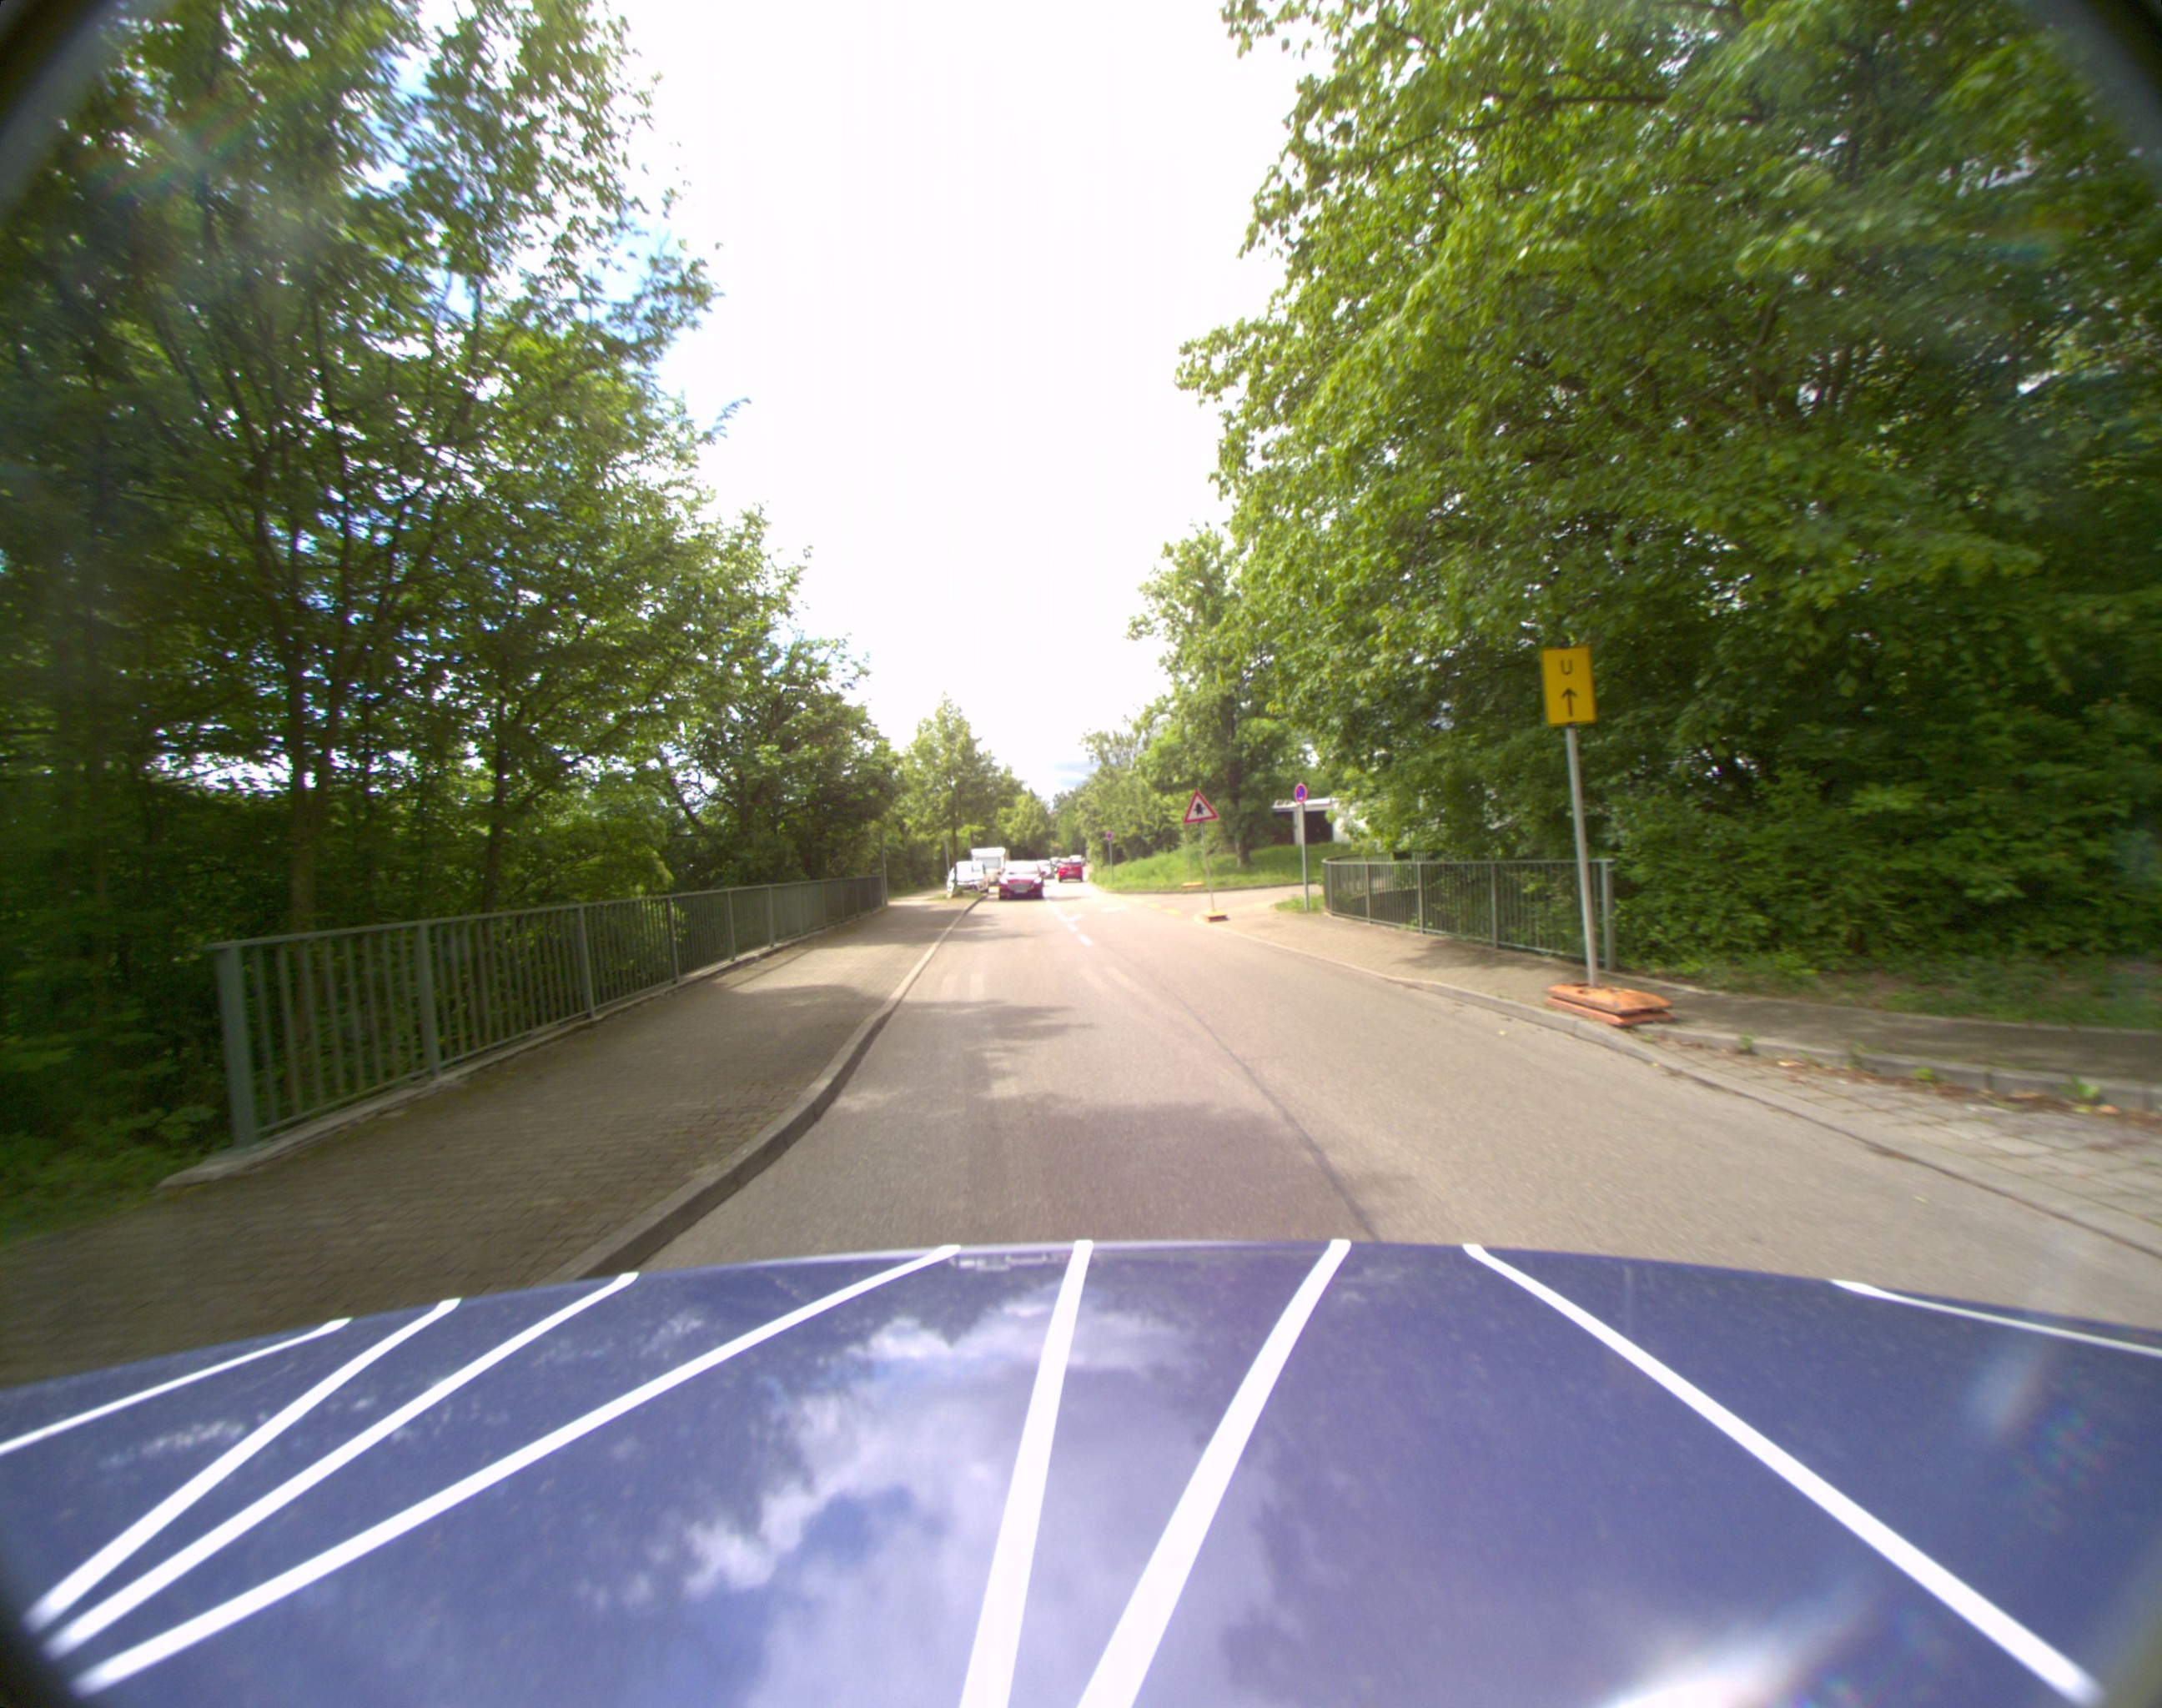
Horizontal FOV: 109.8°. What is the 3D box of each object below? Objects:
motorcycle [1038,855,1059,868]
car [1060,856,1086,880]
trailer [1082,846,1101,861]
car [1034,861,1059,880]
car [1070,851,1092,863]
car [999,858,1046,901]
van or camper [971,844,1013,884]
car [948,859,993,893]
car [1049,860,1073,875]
[{"bbox_3d":[-3.832,0.849,89.191,2.306,1.467,0.977,1,2,35],"label":"motorcycle"},{"bbox_3d":[-0.598,1.035,58.096,1.848,1.649,4.222,-2,0,1],"label":"car"},{"bbox_3d":[1.591,-0.150,112.744,1.732,2.067,3.786,0,3,17],"label":"trailer"},{"bbox_3d":[-3.034,1.426,67.243,1.796,1.500,4.113,-3,1,2],"label":"car"},{"bbox_3d":[0.060,0.431,103.843,1.865,1.469,4.906,0,2,13],"label":"car"},{"bbox_3d":[-2.565,1.053,33.138,1.913,1.688,4.385,-1,0,-5],"label":"car"},{"bbox_3d":[-5.955,0.659,51.535,2.361,2.539,5.073,-1,0,-1],"label":"van or camper"},{"bbox_3d":[-5.534,1.064,38.565,1.810,1.590,4.370,-1,0,-3],"label":"car"},{"bbox_3d":[-2.196,1.433,83.625,1.794,1.500,4.116,1,1,10],"label":"car"}]
